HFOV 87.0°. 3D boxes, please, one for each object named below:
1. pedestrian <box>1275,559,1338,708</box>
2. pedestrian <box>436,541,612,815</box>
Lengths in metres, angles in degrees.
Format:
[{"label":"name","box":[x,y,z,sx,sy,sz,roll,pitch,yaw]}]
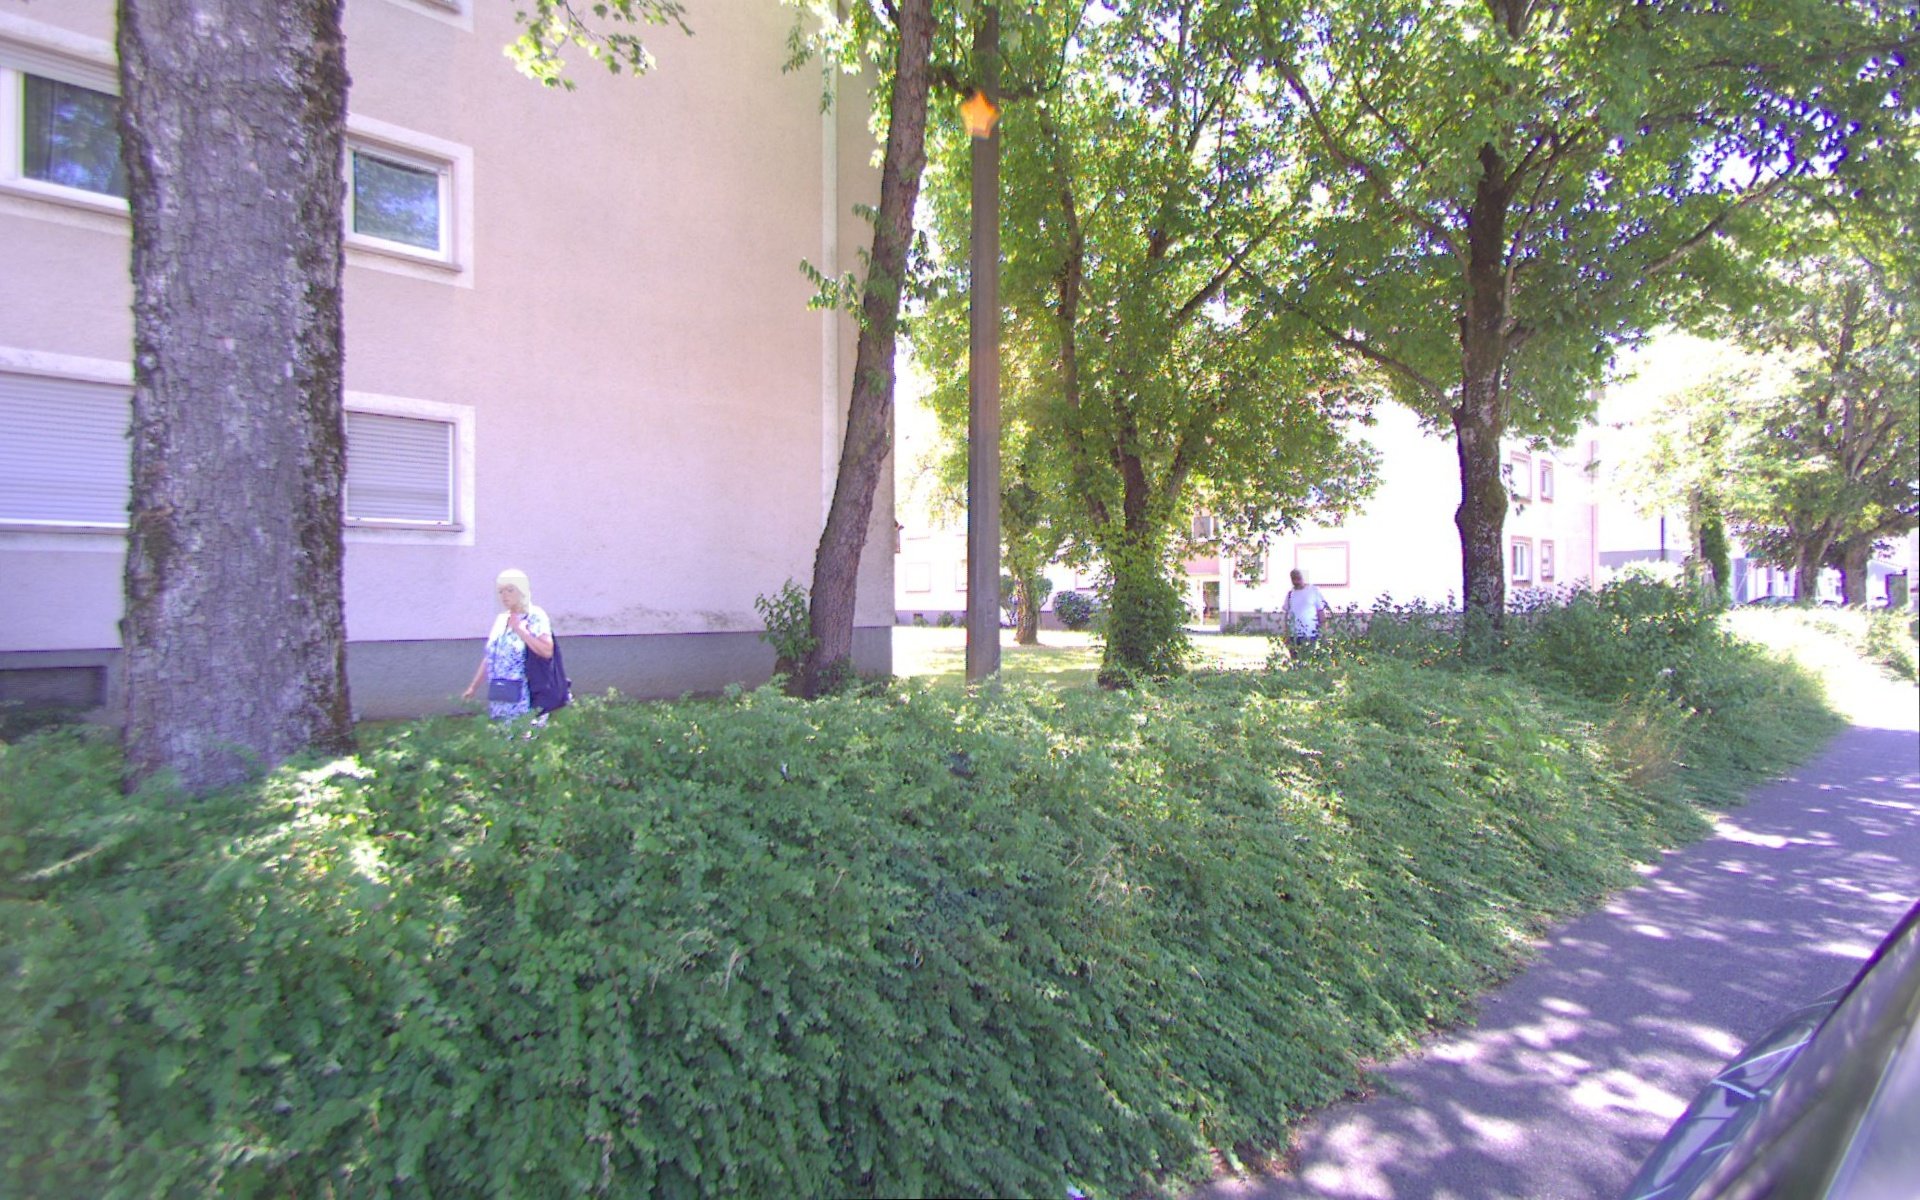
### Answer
[{"label":"pedestrian","box":[4.605,0.425,13.418,0.667,1.897,0.894,0,0,27]},{"label":"pedestrian","box":[-2.865,0.463,6.665,0.717,1.654,0.839,0,0,41]}]
